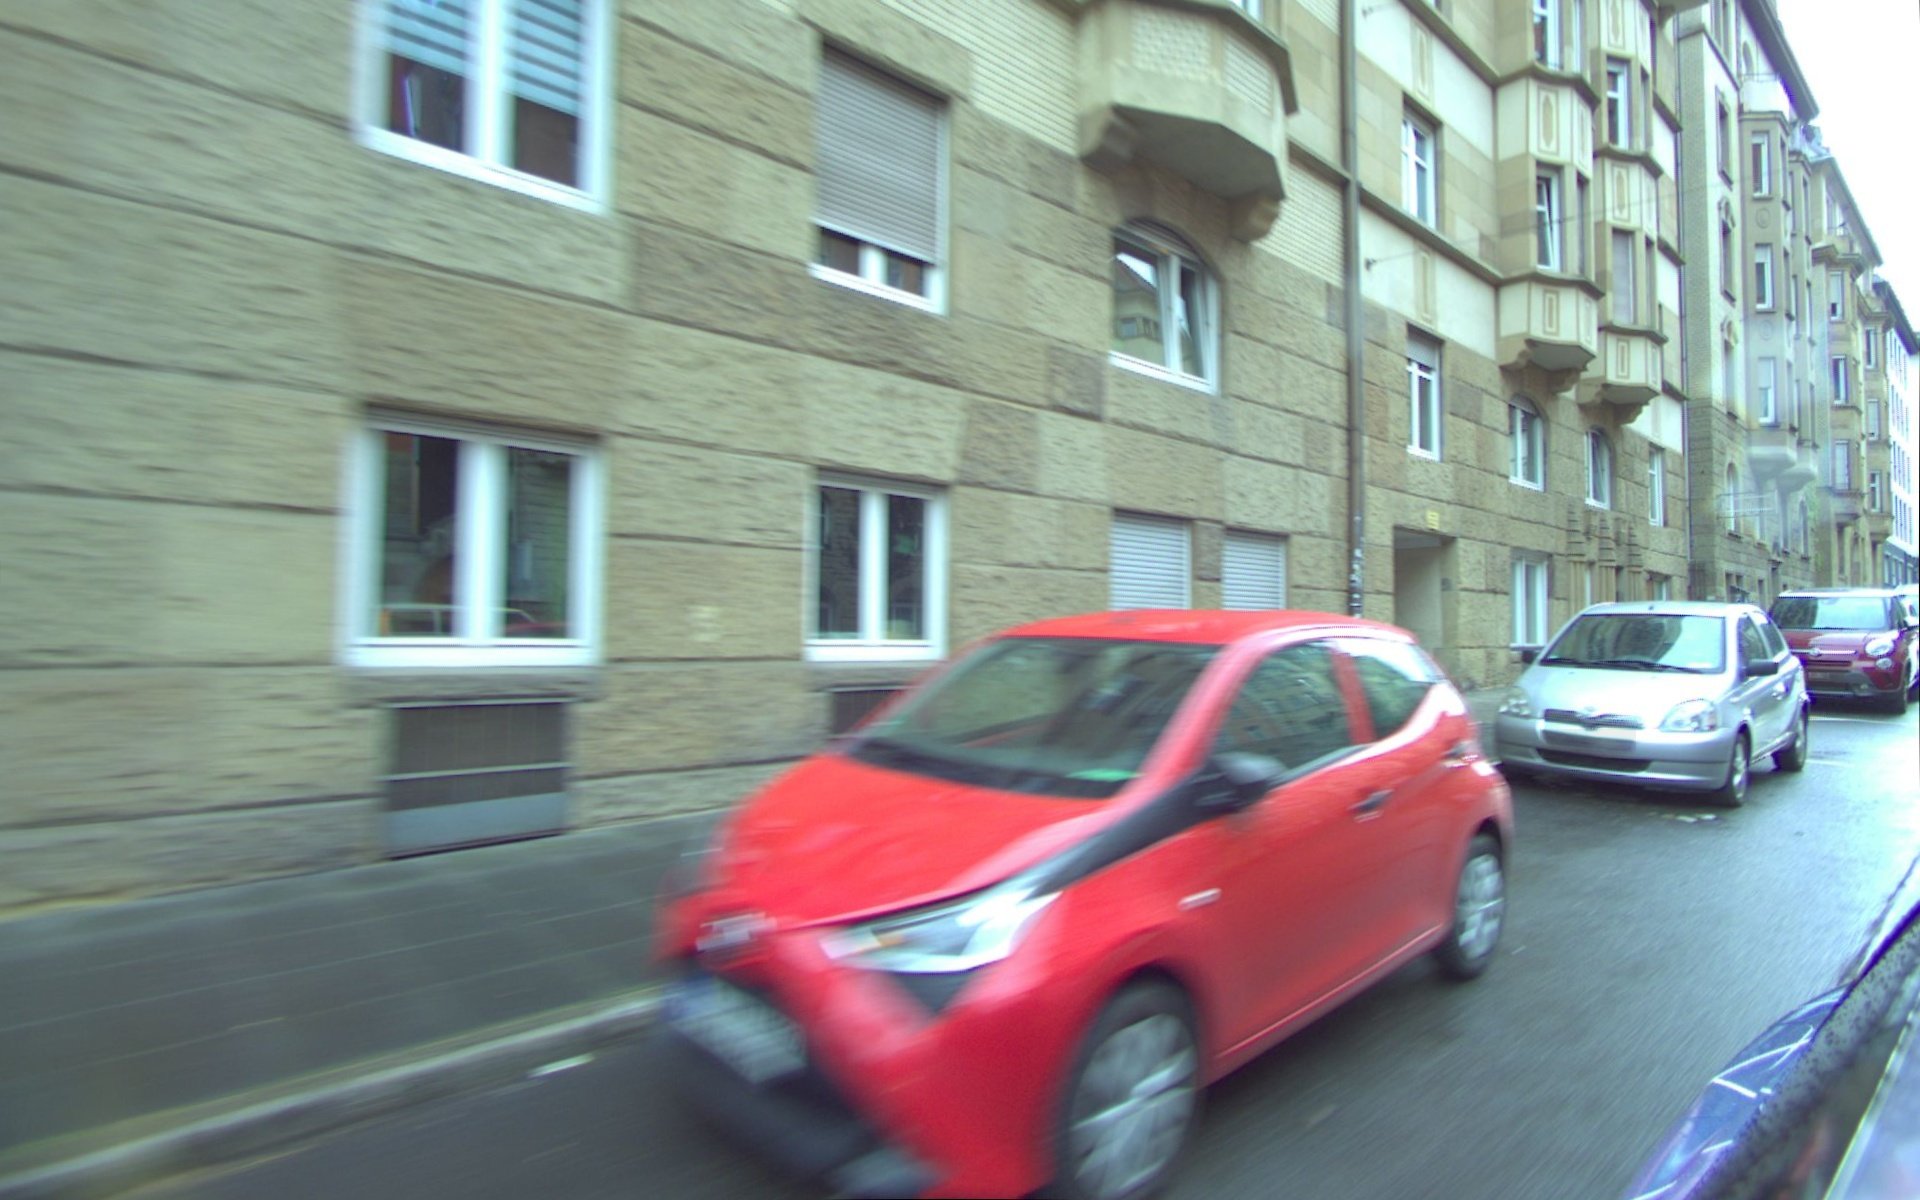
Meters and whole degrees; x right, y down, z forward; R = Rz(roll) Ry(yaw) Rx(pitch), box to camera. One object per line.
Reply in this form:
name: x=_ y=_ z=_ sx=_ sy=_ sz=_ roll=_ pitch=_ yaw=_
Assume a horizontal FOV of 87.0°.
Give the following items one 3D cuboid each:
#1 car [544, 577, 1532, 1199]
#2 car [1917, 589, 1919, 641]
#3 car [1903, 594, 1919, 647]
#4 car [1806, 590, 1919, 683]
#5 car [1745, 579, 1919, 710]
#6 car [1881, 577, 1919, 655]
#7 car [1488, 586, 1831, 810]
car: x=0.562 y=0.692 z=3.693 sx=3.474 sy=1.471 sz=1.706 roll=-1 pitch=-1 yaw=-44
car: x=30.764 y=0.398 z=30.856 sx=3.988 sy=1.544 sz=1.933 roll=-1 pitch=-1 yaw=-41
car: x=27.407 y=0.525 z=27.710 sx=3.913 sy=1.406 sz=1.929 roll=-1 pitch=-1 yaw=-41
car: x=16.781 y=0.601 z=18.440 sx=3.471 sy=1.530 sz=1.630 roll=-1 pitch=-1 yaw=-43
car: x=12.806 y=0.521 z=14.570 sx=3.933 sy=1.621 sz=1.771 roll=-1 pitch=1 yaw=-43
car: x=23.742 y=0.341 z=24.423 sx=3.893 sy=1.791 sz=1.809 roll=-1 pitch=0 yaw=-41
car: x=6.021 y=0.641 z=8.581 sx=3.461 sy=1.505 sz=1.597 roll=-1 pitch=1 yaw=-41
